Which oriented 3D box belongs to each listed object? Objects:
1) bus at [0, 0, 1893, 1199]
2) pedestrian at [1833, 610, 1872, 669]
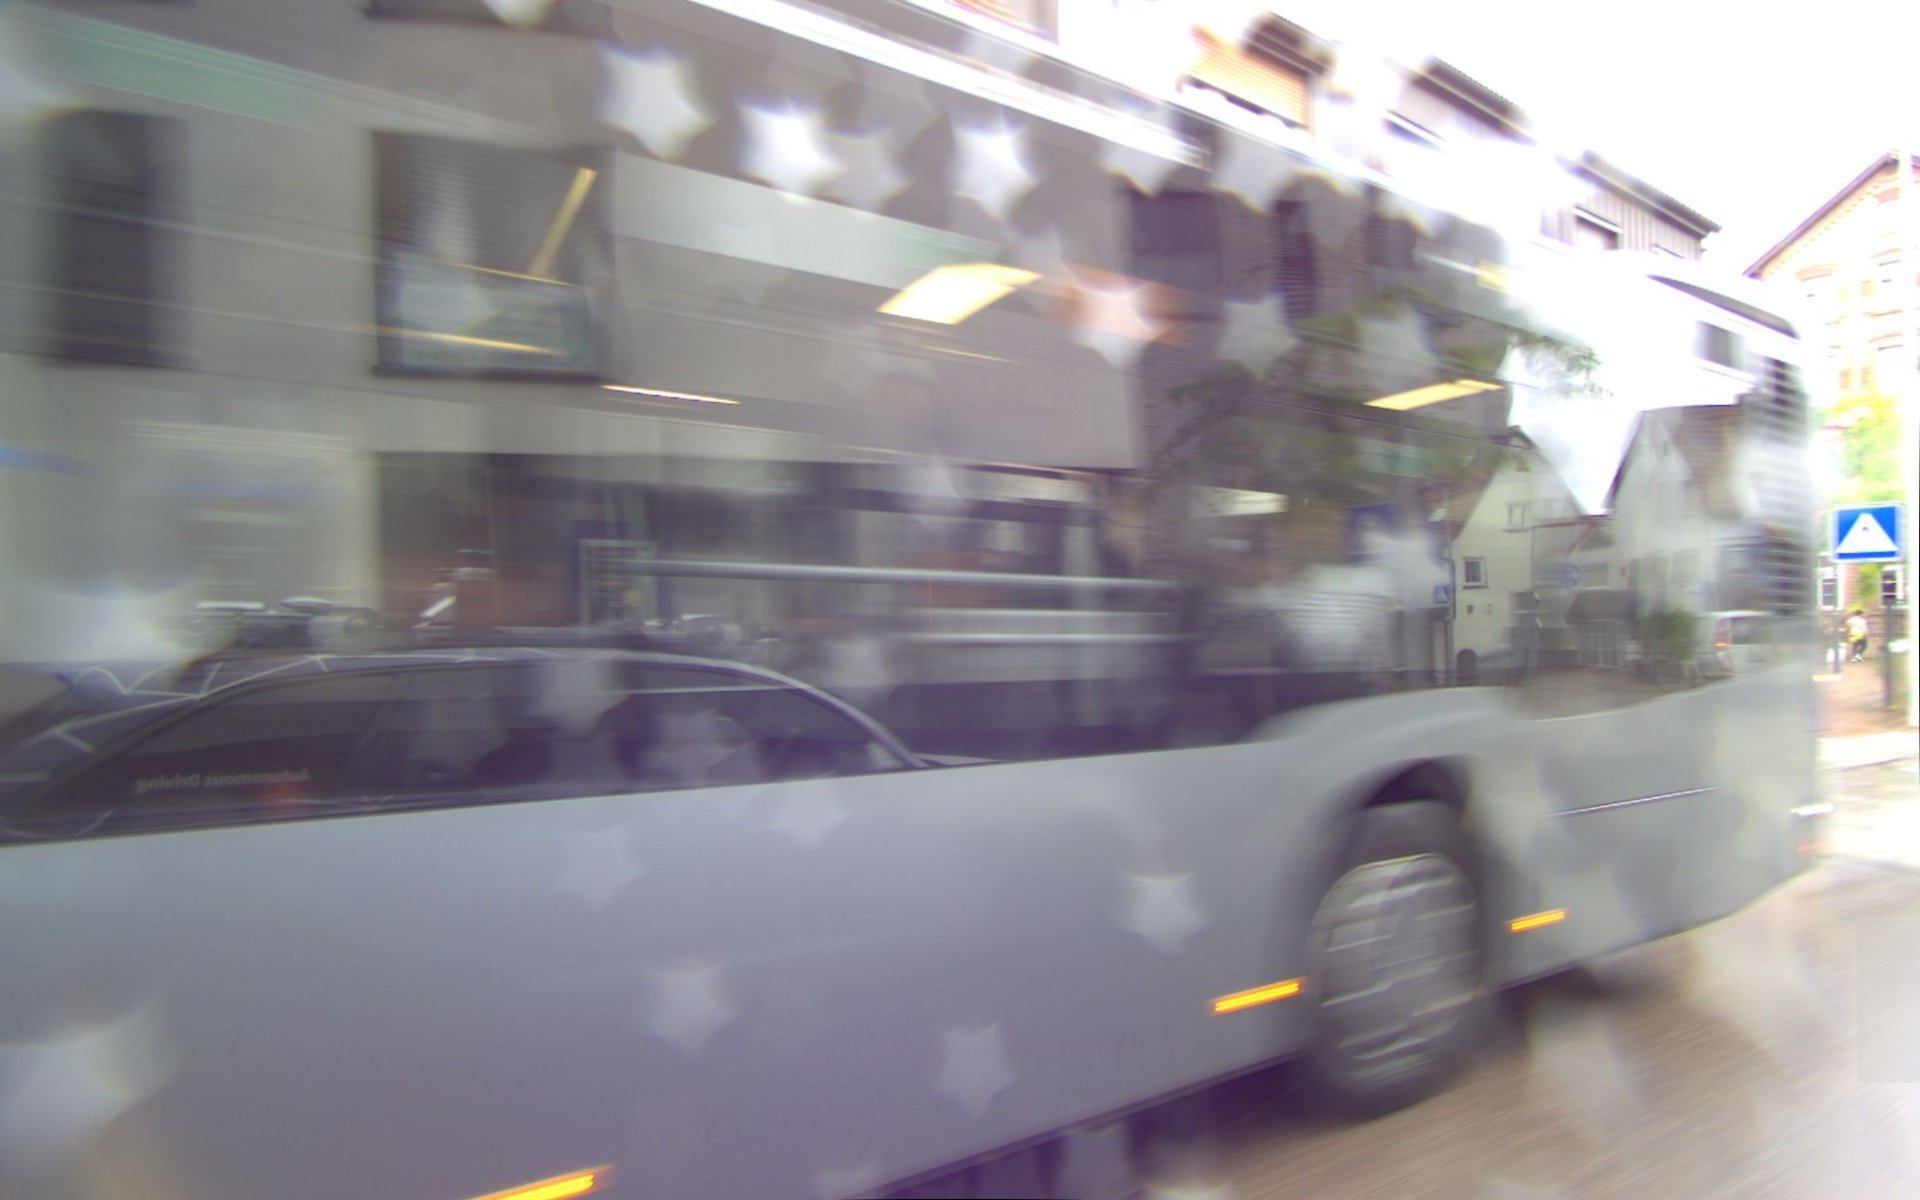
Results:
[{"bbox_3d":[-0.963,0.006,2.978,10.822,3.121,2.709,1,-1,-32],"label":"bus"},{"bbox_3d":[29.725,1.309,33.457,0.818,1.911,0.832,1,0,-41],"label":"pedestrian"}]
